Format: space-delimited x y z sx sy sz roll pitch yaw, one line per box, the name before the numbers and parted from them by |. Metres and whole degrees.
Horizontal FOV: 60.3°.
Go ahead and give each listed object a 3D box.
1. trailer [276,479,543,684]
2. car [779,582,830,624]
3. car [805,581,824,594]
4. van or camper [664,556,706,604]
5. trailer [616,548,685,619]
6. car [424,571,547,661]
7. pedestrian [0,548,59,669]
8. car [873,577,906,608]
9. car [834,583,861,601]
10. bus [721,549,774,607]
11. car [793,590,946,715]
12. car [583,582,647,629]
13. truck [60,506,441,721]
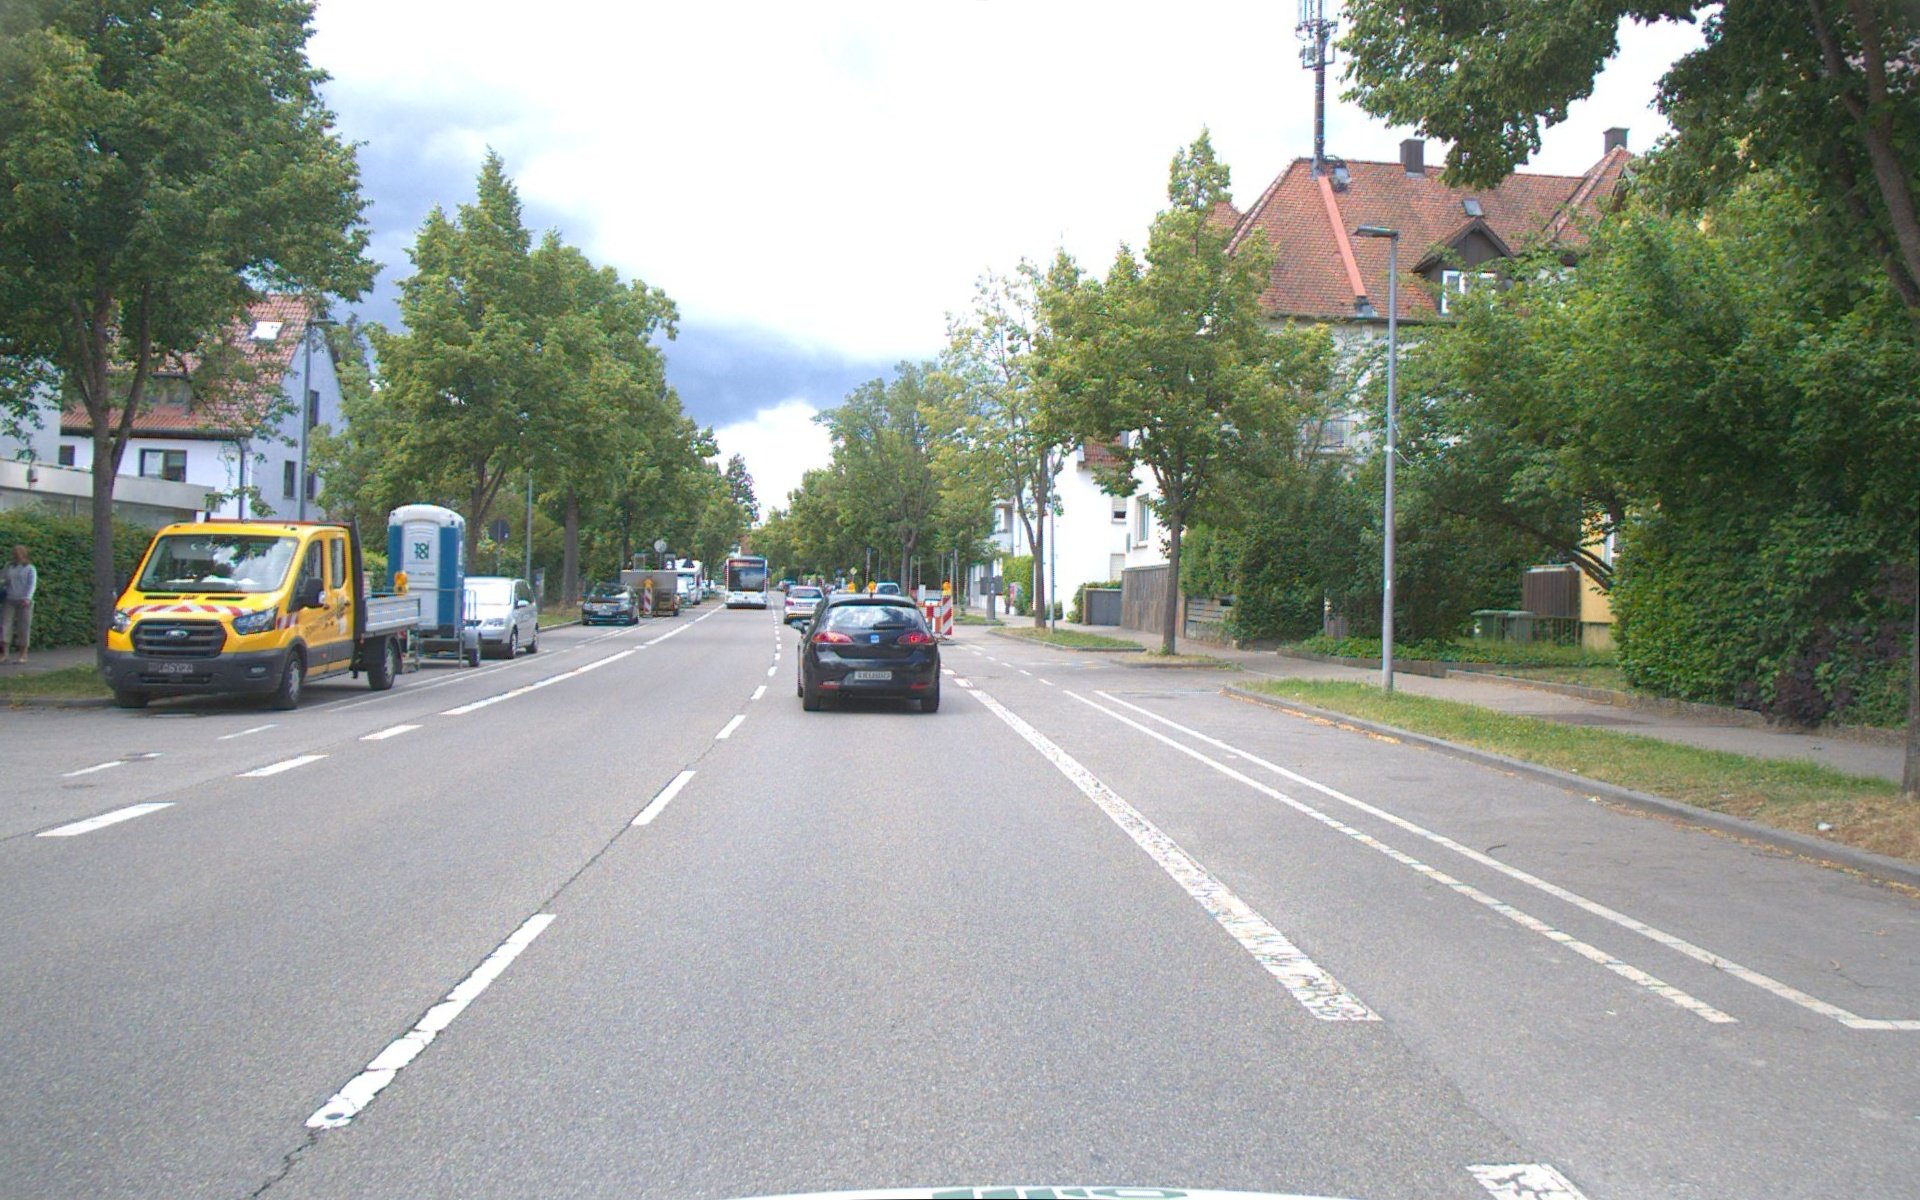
trailer | -9.021 -0.300 27.972 2.324 3.015 7.008 1 0 -2
car | -6.203 0.095 66.215 1.954 1.585 3.996 1 0 -5
car | -16.948 -1.411 192.572 1.653 1.457 4.032 1 1 -12
van or camper | -18.706 -1.352 112.638 2.388 3.062 7.682 1 0 -7
trailer | -14.038 -0.707 75.425 2.623 2.992 7.463 1 0 -8
car | -9.738 0.318 34.259 1.656 1.713 4.220 1 0 -5
pedestrian | -13.949 0.126 24.655 0.628 1.772 0.721 1 0 -2
car | -4.067 -0.445 94.538 1.601 1.694 3.643 1 0 -7
car | -9.380 -0.667 137.863 1.982 1.468 5.018 1 0 -6
bus | -13.591 -1.283 106.912 2.750 3.346 18.023 1 0 -6
car | -1.254 0.620 21.464 1.749 1.474 3.553 1 0 -7
car | -12.576 0.228 60.516 1.824 1.580 4.613 1 -1 -6
truck | -8.745 0.126 21.254 2.248 2.327 6.461 1 0 -2
